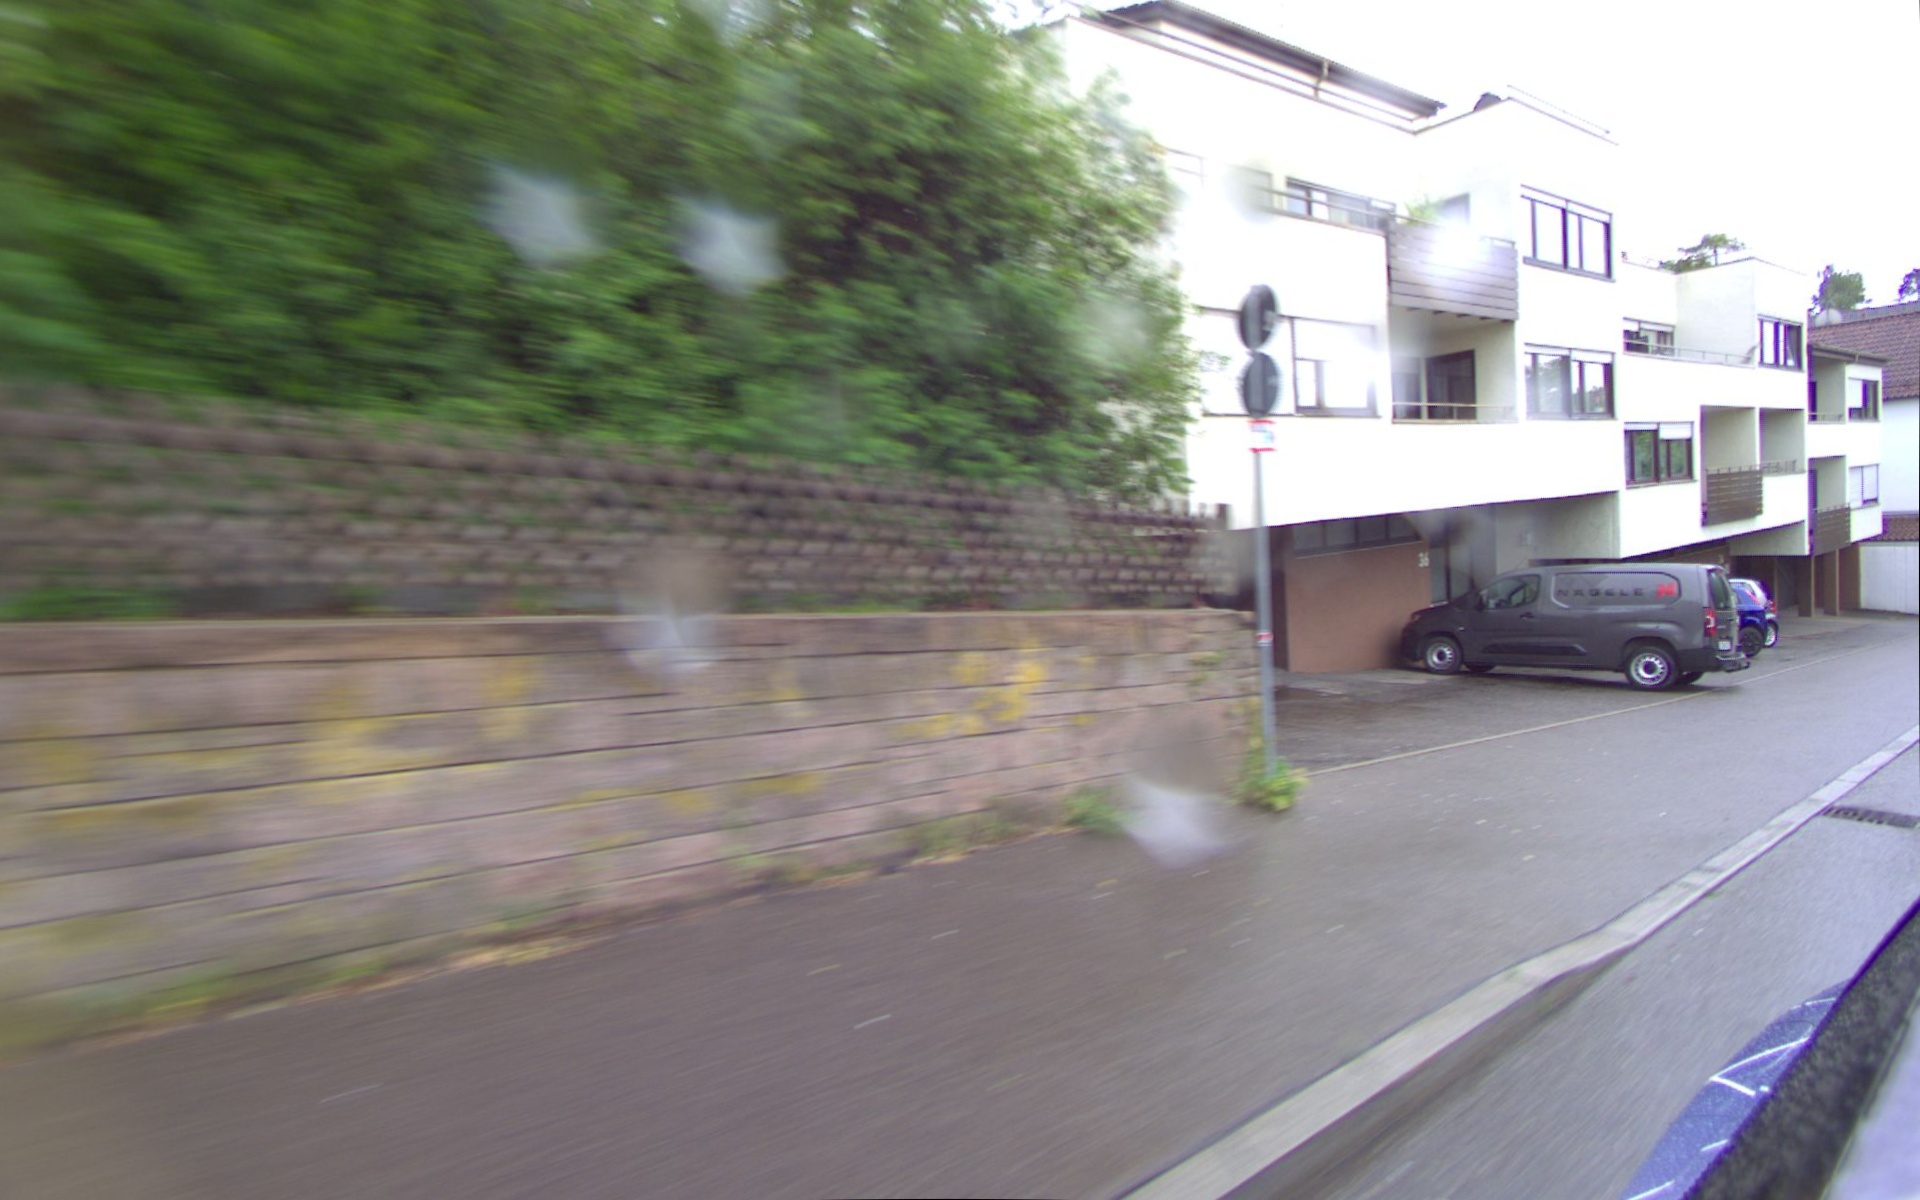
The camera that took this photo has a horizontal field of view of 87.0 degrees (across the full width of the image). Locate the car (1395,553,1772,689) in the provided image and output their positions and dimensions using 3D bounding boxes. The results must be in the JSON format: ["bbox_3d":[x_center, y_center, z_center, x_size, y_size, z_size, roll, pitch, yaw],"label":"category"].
[{"bbox_3d":[9.674,0.208,16.068,1.965,1.843,4.717,0,2,-40],"label":"car"}]

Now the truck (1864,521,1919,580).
[{"bbox_3d":[48.032,-2.194,48.166,2.096,2.733,7.000,-1,7,-25],"label":"truck"}]

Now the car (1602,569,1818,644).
[{"bbox_3d":[17.231,0.135,23.313,3.982,1.599,1.791,-1,0,-12],"label":"car"}]

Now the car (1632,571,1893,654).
[{"bbox_3d":[16.549,0.256,21.017,3.988,1.599,1.788,-1,0,-2],"label":"car"}]
